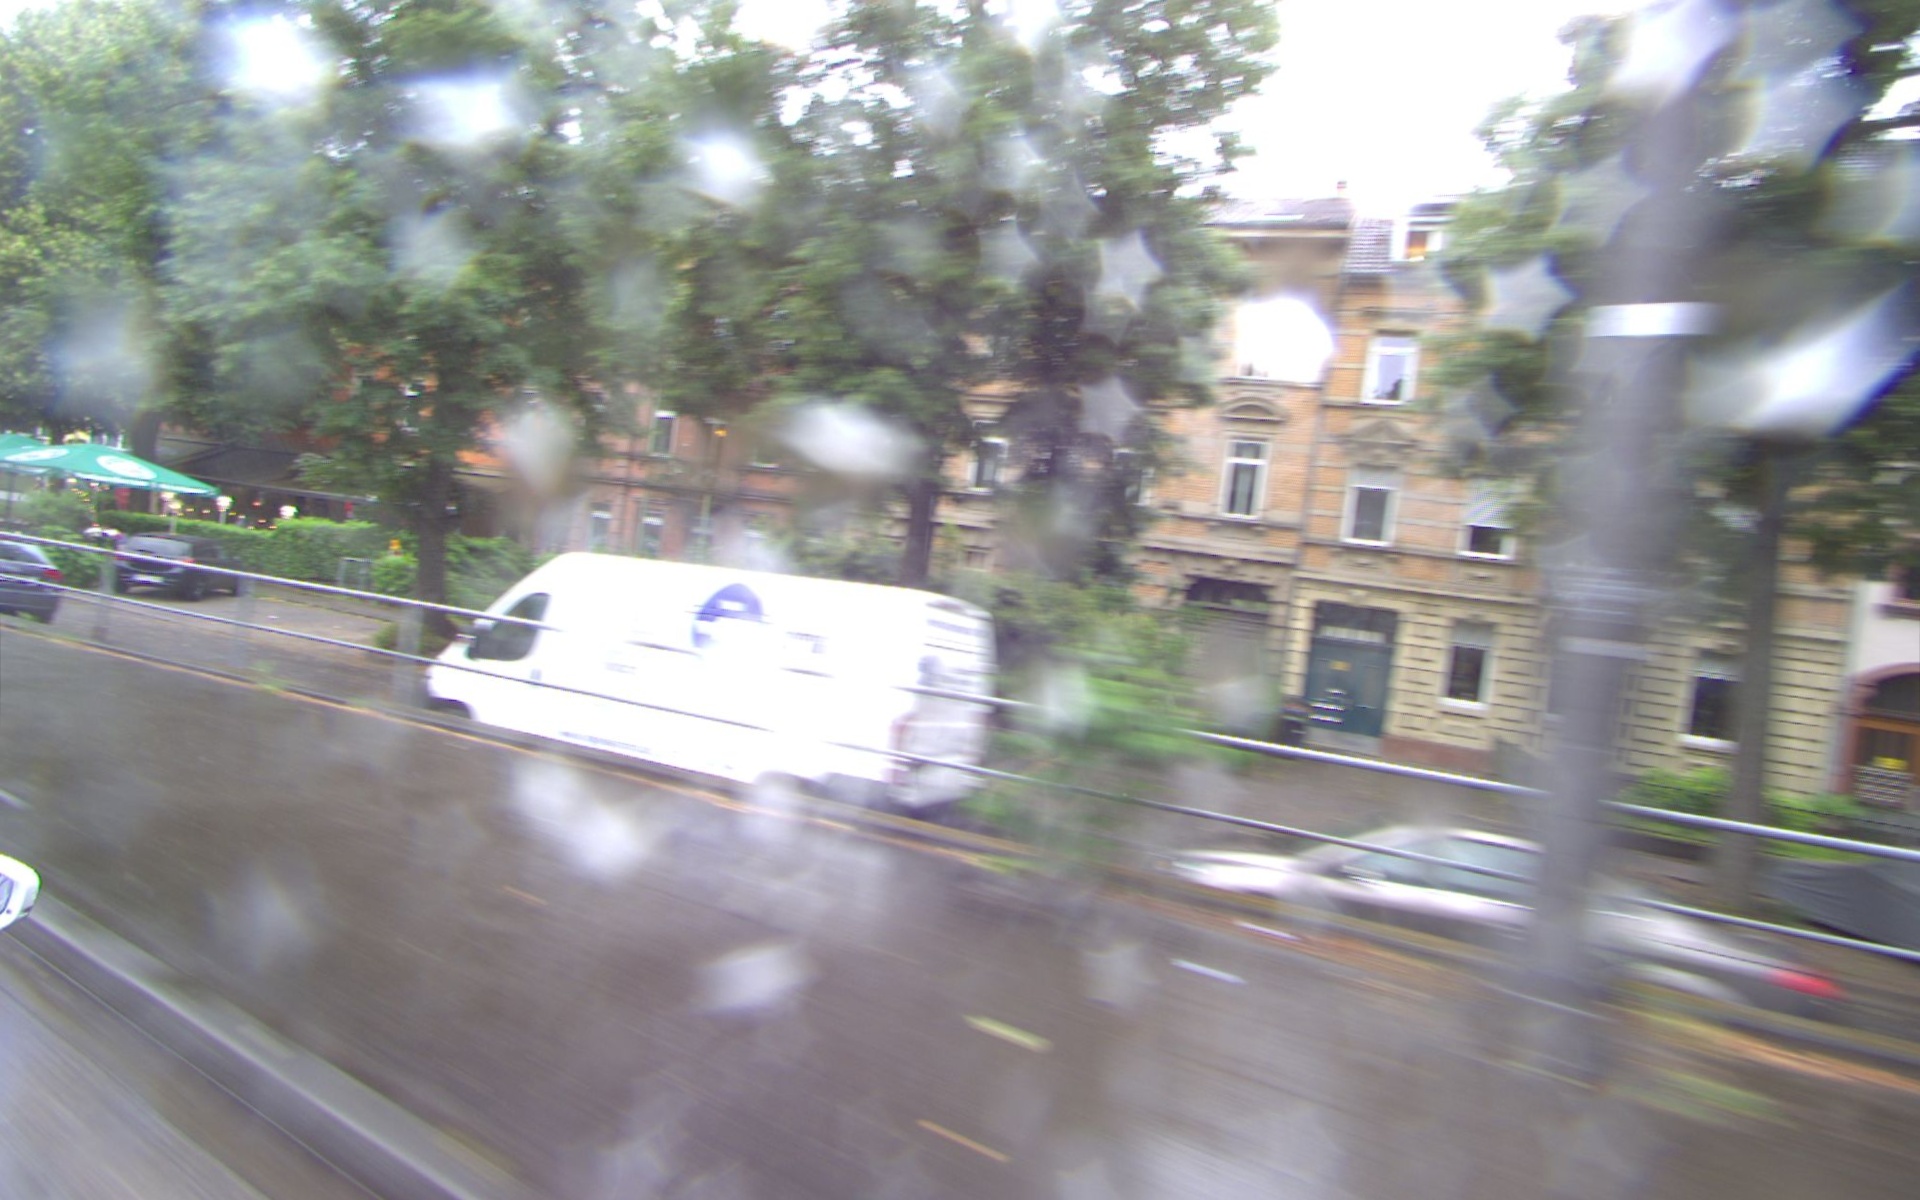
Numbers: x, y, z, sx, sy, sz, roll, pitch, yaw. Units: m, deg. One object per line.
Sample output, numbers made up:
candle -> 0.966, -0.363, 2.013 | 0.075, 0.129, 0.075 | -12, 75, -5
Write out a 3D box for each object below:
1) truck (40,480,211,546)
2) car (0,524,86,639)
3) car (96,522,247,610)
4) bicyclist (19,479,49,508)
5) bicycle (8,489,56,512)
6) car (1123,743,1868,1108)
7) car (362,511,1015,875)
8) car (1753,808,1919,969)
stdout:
truck -> -39.538, -4.055, 47.849 | 2.076, 2.037, 5.761 | 7, -2, 29
car -> -15.618, -0.490, 15.327 | 4.000, 1.557, 1.739 | 7, -2, 22
car -> -19.228, -0.820, 24.749 | 1.977, 1.733, 3.974 | 8, -2, -27
bicyclist -> -57.097, -6.547, 62.042 | 0.922, 1.565, 1.066 | 7, -1, 36
bicycle -> -57.147, -6.119, 61.980 | 0.649, 1.039, 2.019 | 7, -2, 36
car -> 3.633, 2.162, 7.638 | 4.303, 1.368, 1.975 | 7, -2, 21
car -> -2.788, 0.749, 10.237 | 6.045, 2.447, 2.218 | 7, -2, 22
car -> 11.809, 3.597, 11.614 | 1.660, 1.397, 4.261 | 7, -1, -3
